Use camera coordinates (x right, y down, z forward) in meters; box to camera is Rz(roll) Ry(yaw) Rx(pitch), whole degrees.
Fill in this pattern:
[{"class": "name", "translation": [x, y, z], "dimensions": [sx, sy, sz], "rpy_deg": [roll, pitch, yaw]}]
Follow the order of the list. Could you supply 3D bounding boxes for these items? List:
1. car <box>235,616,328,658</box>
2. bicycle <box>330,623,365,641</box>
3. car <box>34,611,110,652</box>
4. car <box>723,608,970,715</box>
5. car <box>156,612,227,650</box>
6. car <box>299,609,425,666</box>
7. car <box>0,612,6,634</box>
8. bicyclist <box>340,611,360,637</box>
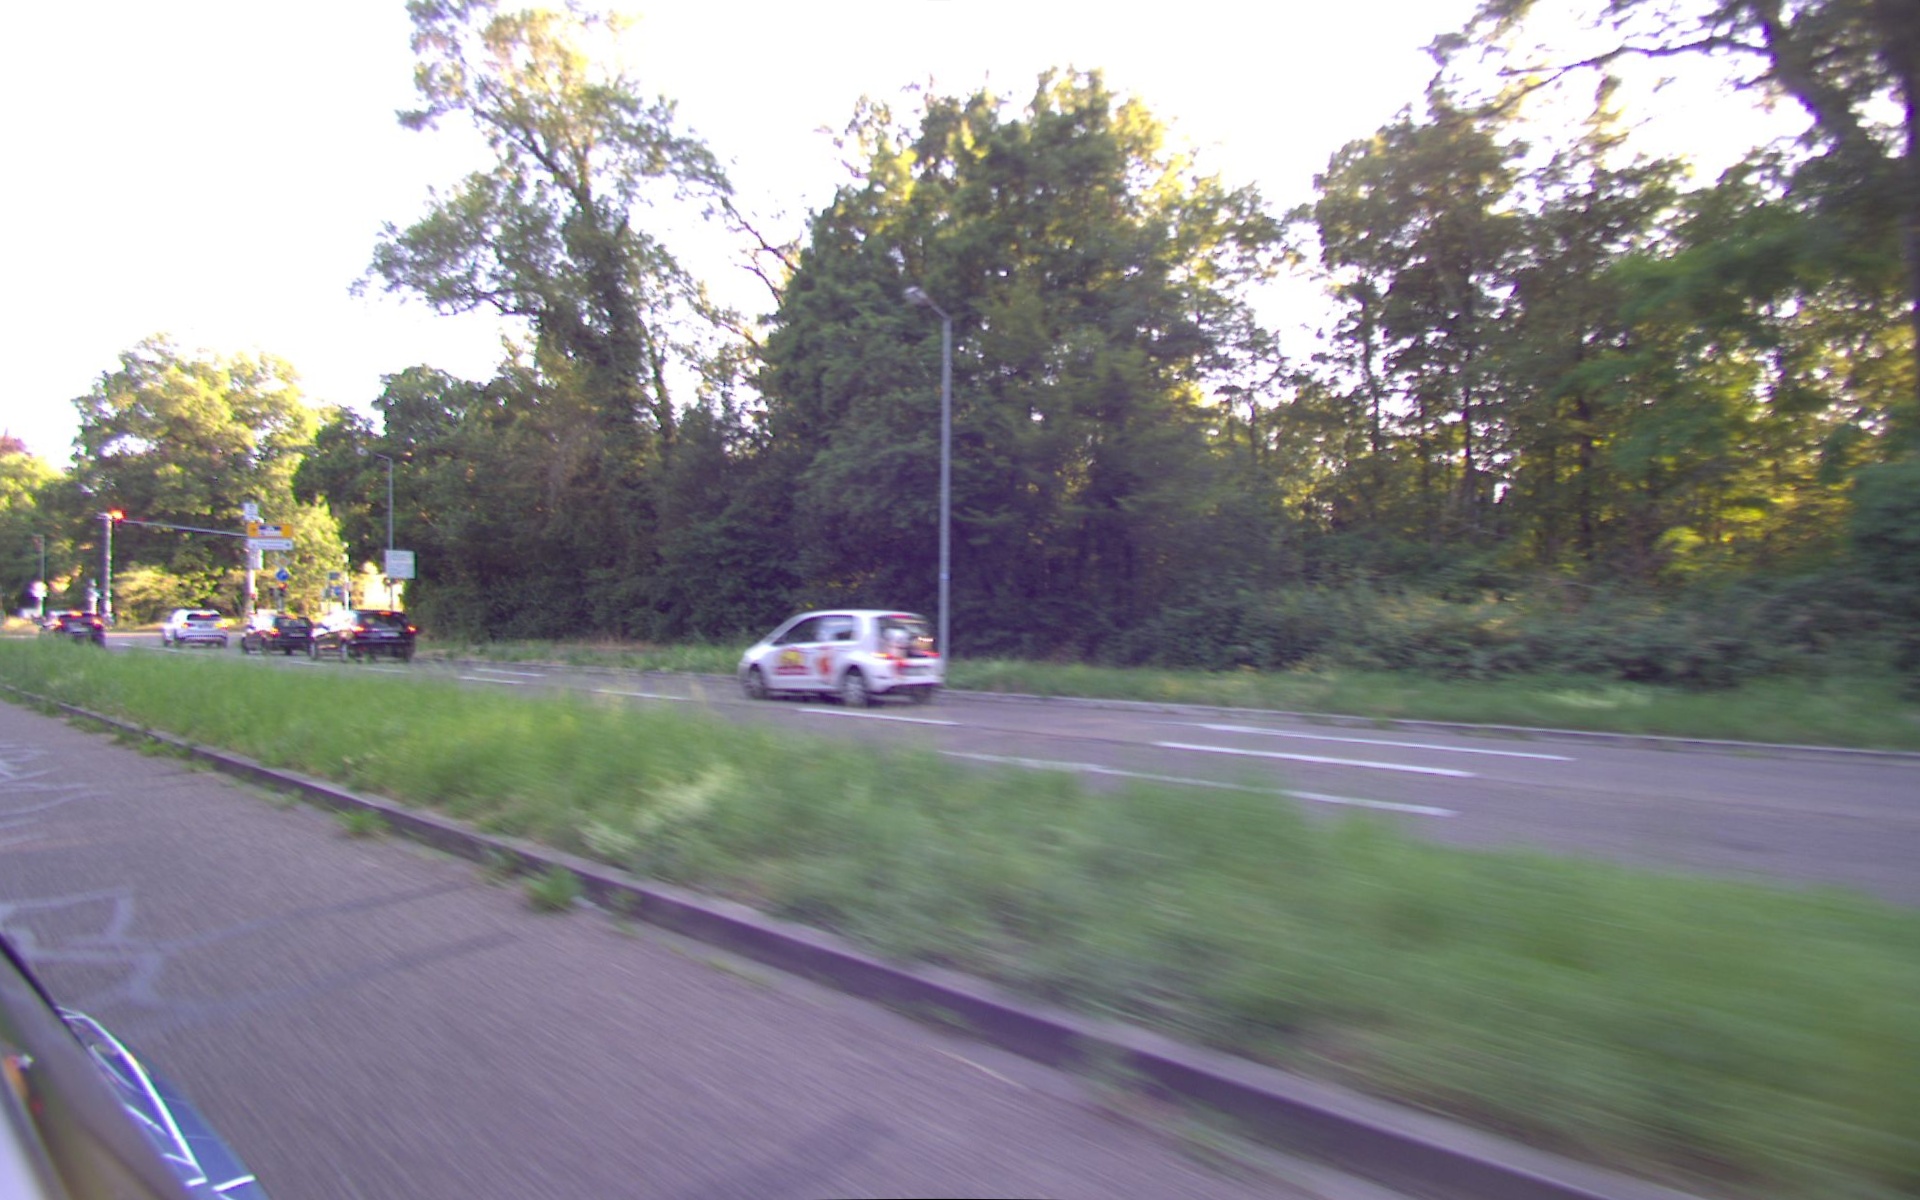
[{"class": "car", "translation": [-25.522, 1.371, 38.031], "dimensions": [4.230, 1.491, 1.804], "rpy_deg": [-1, -3, 41]}, {"class": "bicycle", "translation": [-36.789, 1.902, 60.788], "dimensions": [0.563, 1.022, 1.785], "rpy_deg": [-1, -1, 28]}, {"class": "car", "translation": [-37.766, 1.320, 43.029], "dimensions": [4.448, 1.640, 1.795], "rpy_deg": [-1, -3, 41]}, {"class": "car", "translation": [-1.923, 0.910, 16.568], "dimensions": [3.809, 1.469, 1.972], "rpy_deg": [1, 0, 42]}, {"class": "car", "translation": [-34.729, 1.392, 45.701], "dimensions": [4.642, 1.626, 1.801], "rpy_deg": [-1, -3, 44]}, {"class": "car", "translation": [-18.691, 1.148, 31.553], "dimensions": [4.648, 1.640, 1.973], "rpy_deg": [-1, -3, 41]}, {"class": "car", "translation": [-82.078, 1.916, 85.397], "dimensions": [4.117, 1.859, 1.838], "rpy_deg": [-1, -1, 40]}, {"class": "bicyclist", "translation": [-36.727, 1.455, 60.916], "dimensions": [0.553, 1.581, 0.890], "rpy_deg": [-1, -1, 29]}]
